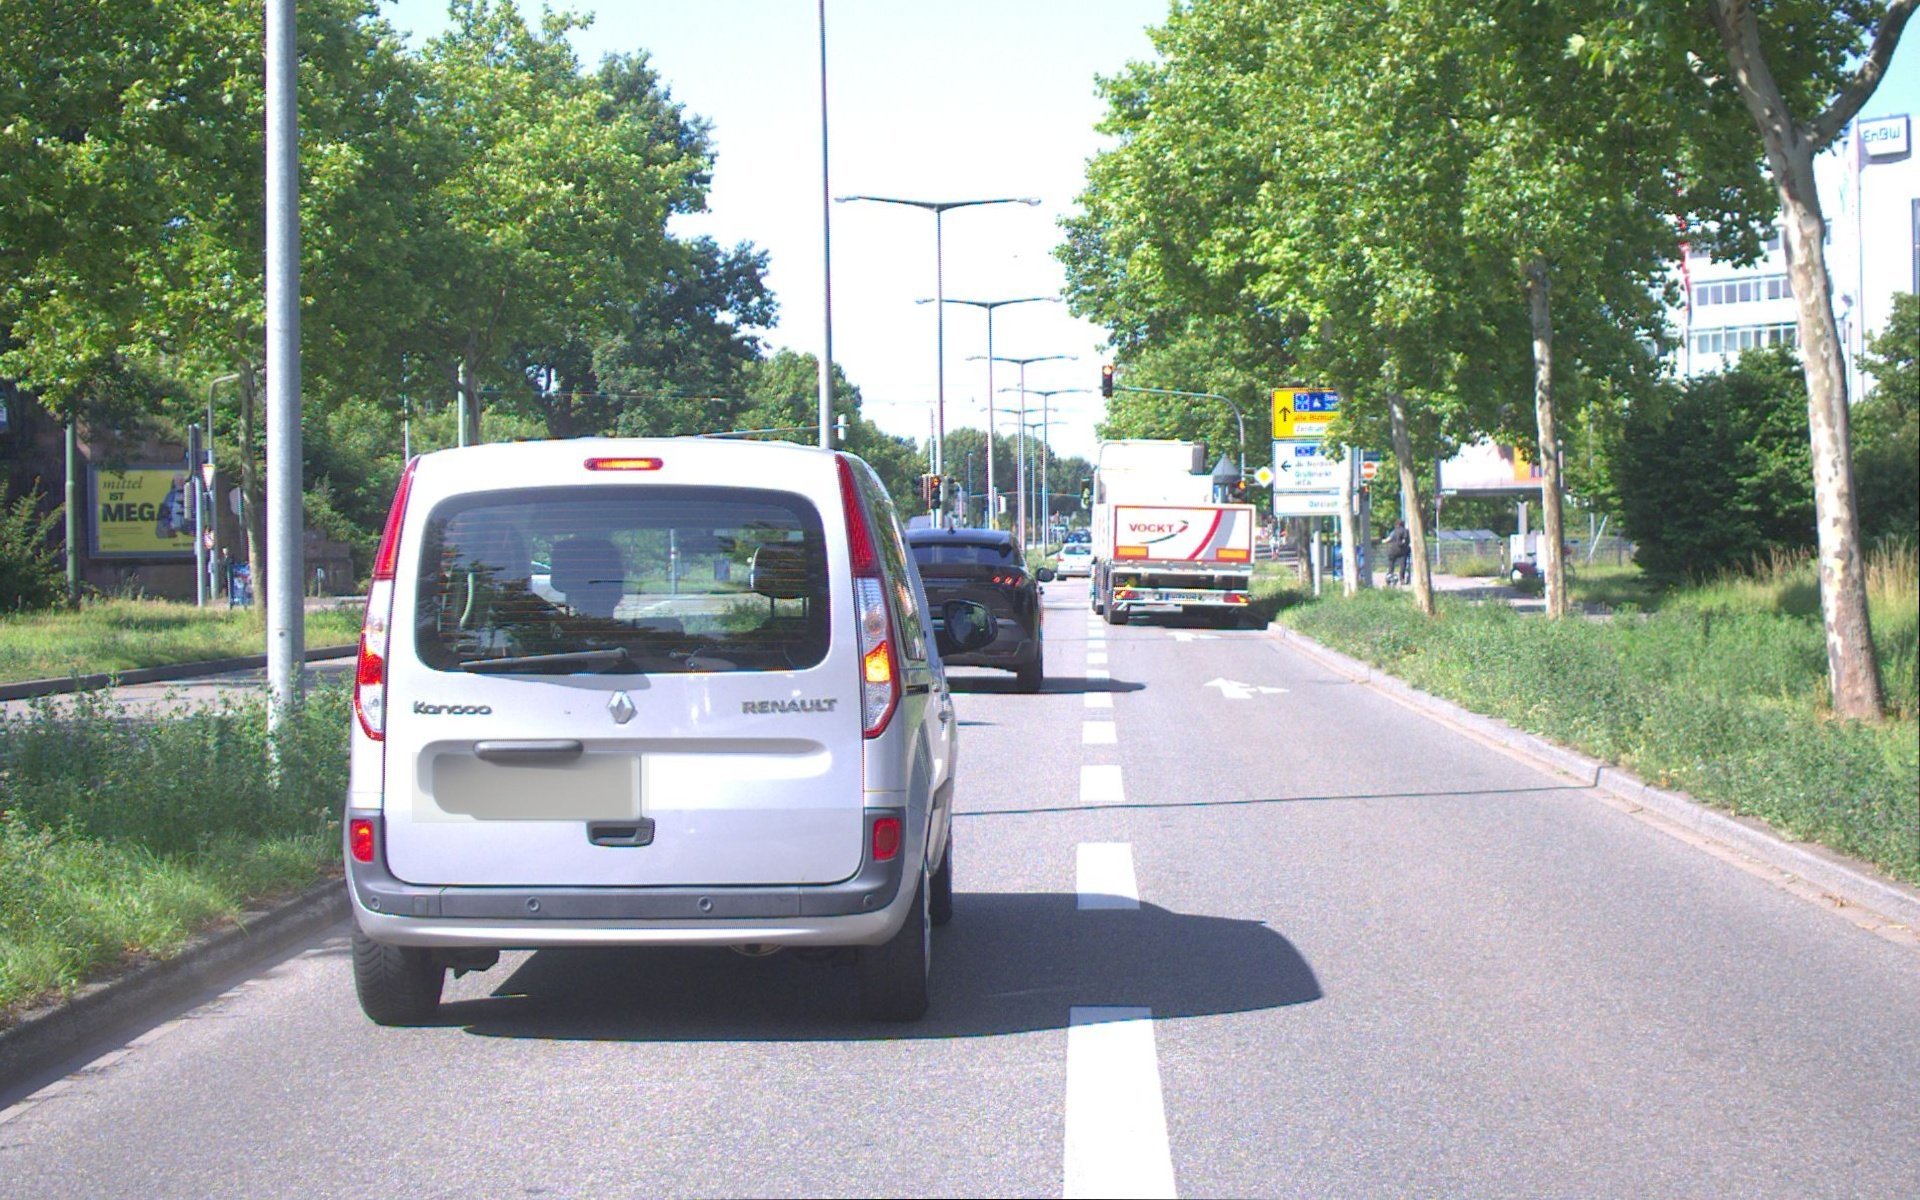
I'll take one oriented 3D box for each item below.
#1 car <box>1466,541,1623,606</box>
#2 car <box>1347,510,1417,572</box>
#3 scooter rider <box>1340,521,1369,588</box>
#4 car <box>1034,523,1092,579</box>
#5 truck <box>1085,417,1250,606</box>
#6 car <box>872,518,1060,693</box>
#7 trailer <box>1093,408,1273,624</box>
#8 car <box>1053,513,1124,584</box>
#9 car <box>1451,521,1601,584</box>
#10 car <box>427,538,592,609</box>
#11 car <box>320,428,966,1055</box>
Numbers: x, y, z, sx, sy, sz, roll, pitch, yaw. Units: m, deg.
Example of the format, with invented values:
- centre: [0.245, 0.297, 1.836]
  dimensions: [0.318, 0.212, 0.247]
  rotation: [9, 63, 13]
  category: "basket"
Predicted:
- centre: [15.387, -0.704, 90.667]
  dimensions: [3.988, 1.656, 1.722]
  rotation: [1, 0, 7]
  category: "car"
- centre: [12.473, -1.732, 101.719]
  dimensions: [1.816, 1.789, 3.443]
  rotation: [1, 1, 3]
  category: "car"
- centre: [7.850, -0.906, 68.386]
  dimensions: [0.497, 1.333, 0.563]
  rotation: [1, 0, -1]
  category: "scooter rider"
- centre: [3.766, -1.800, 126.052]
  dimensions: [1.713, 2.007, 4.001]
  rotation: [1, 1, -4]
  category: "car"
- centre: [4.285, -1.812, 72.477]
  dimensions: [3.071, 3.745, 7.476]
  rotation: [1, 1, 1]
  category: "truck"
- centre: [0.034, 0.032, 35.525]
  dimensions: [1.809, 1.678, 4.000]
  rotation: [1, 1, -1]
  category: "car"
- centre: [4.123, -1.524, 66.065]
  dimensions: [3.016, 3.728, 12.239]
  rotation: [1, 1, 2]
  category: "trailer"
- centre: [3.014, -1.204, 81.098]
  dimensions: [1.466, 1.630, 3.471]
  rotation: [1, 1, -1]
  category: "car"
- centre: [15.464, -1.303, 94.069]
  dimensions: [3.988, 1.656, 1.722]
  rotation: [1, 0, 7]
  category: "car"
- centre: [-12.260, -0.717, 93.554]
  dimensions: [3.986, 1.853, 2.000]
  rotation: [1, 1, -27]
  category: "car"
- centre: [-0.905, 0.384, 11.789]
  dimensions: [1.749, 1.766, 3.949]
  rotation: [1, 1, 1]
  category: "car"
